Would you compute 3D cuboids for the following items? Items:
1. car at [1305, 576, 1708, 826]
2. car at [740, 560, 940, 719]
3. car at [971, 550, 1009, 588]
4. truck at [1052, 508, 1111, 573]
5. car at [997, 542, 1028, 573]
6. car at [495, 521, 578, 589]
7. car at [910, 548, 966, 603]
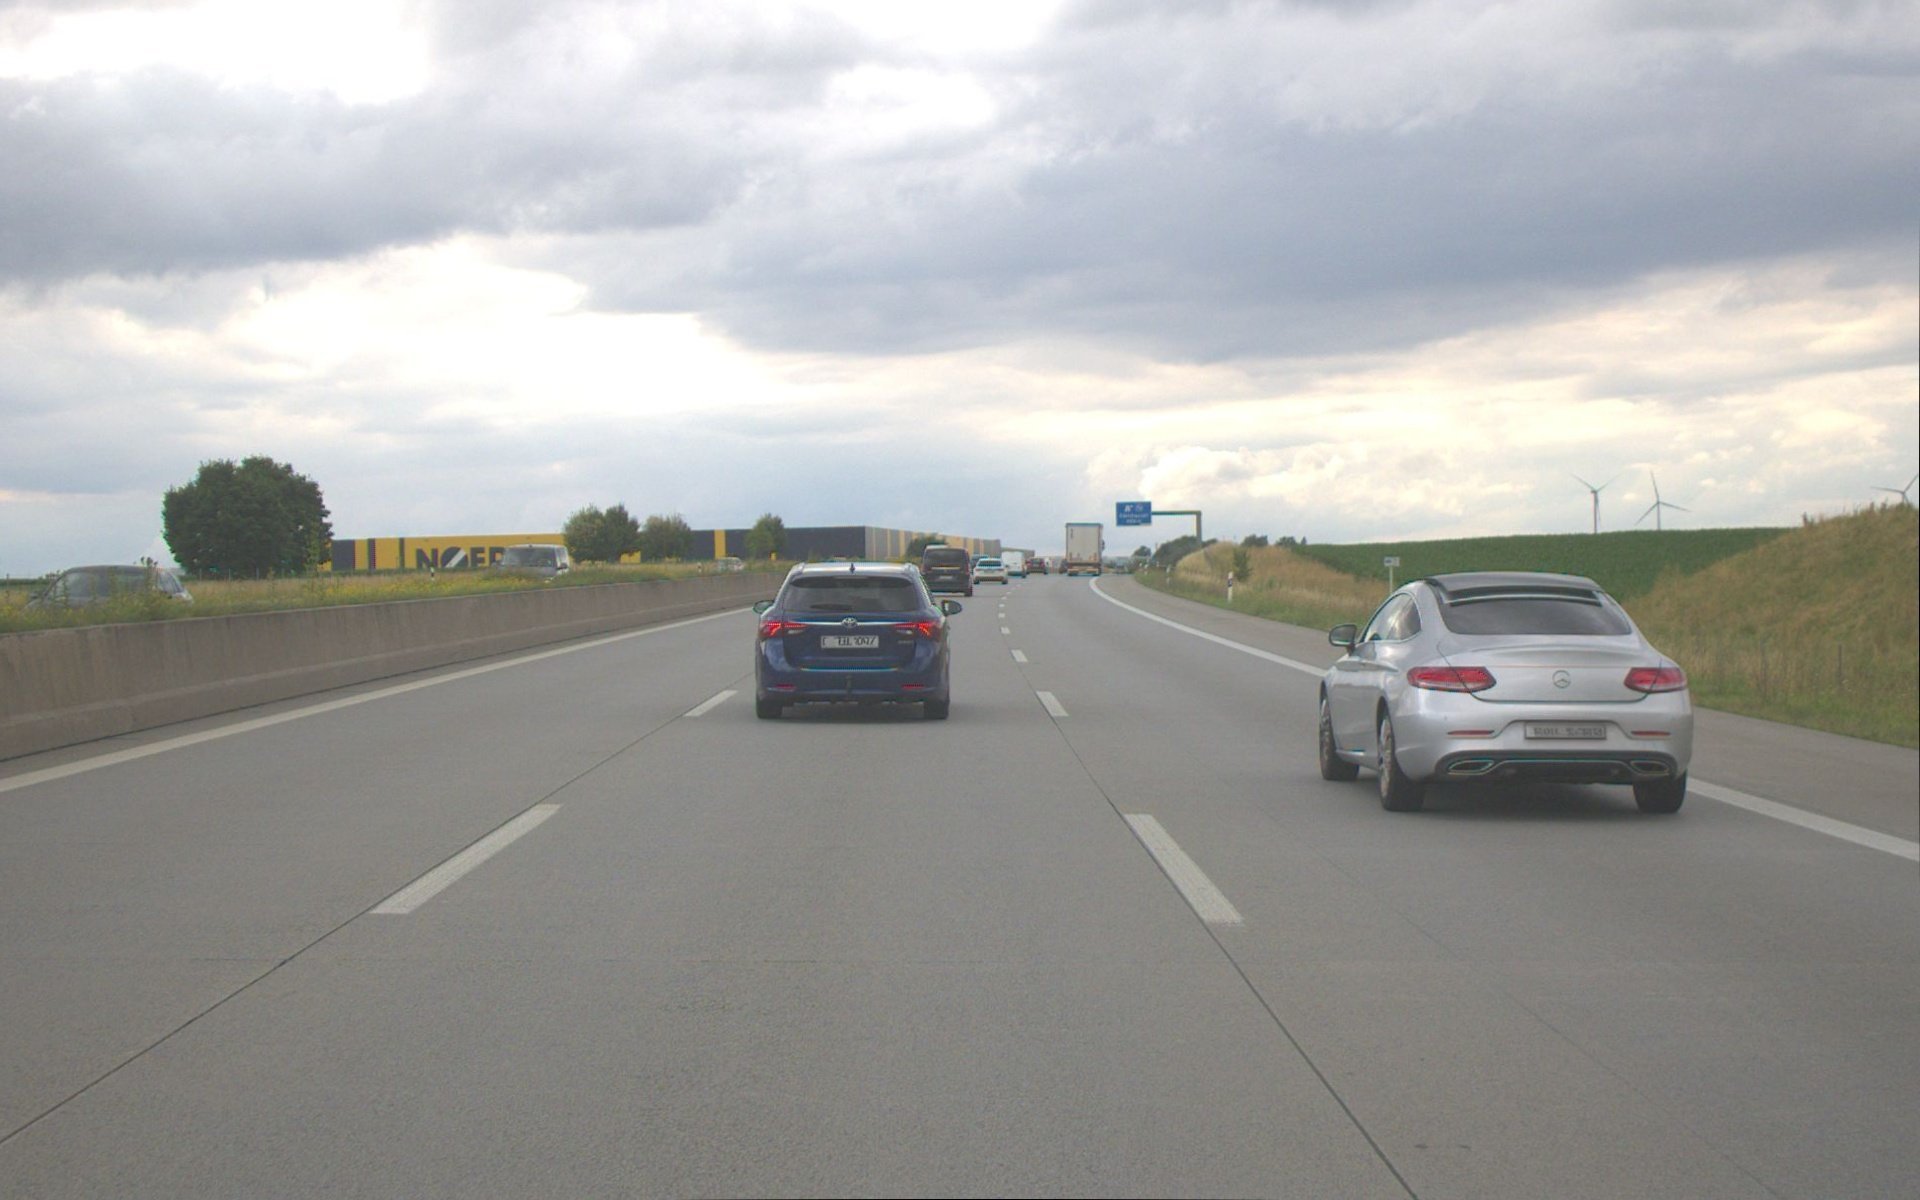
[{"bbox_3d":[3.286,0.552,21.454,1.788,1.399,4.221,0,0,-1],"label":"car"},{"bbox_3d":[-1.086,0.339,32.603,1.774,1.408,4.000,0,0,-1],"label":"car"},{"bbox_3d":[1.637,-1.682,187.117,1.993,2.007,4.000,1,1,1],"label":"car"},{"bbox_3d":[9.301,-4.515,265.455,3.950,4.740,12.076,1,0,0],"label":"truck"},{"bbox_3d":[3.620,-2.929,237.379,1.993,2.007,4.000,1,0,0],"label":"car"},{"bbox_3d":[-12.995,-1.397,105.720,1.993,2.007,4.630,1,1,0],"label":"car"},{"bbox_3d":[-0.843,-0.914,129.997,1.993,2.007,4.000,1,0,-2],"label":"car"}]
